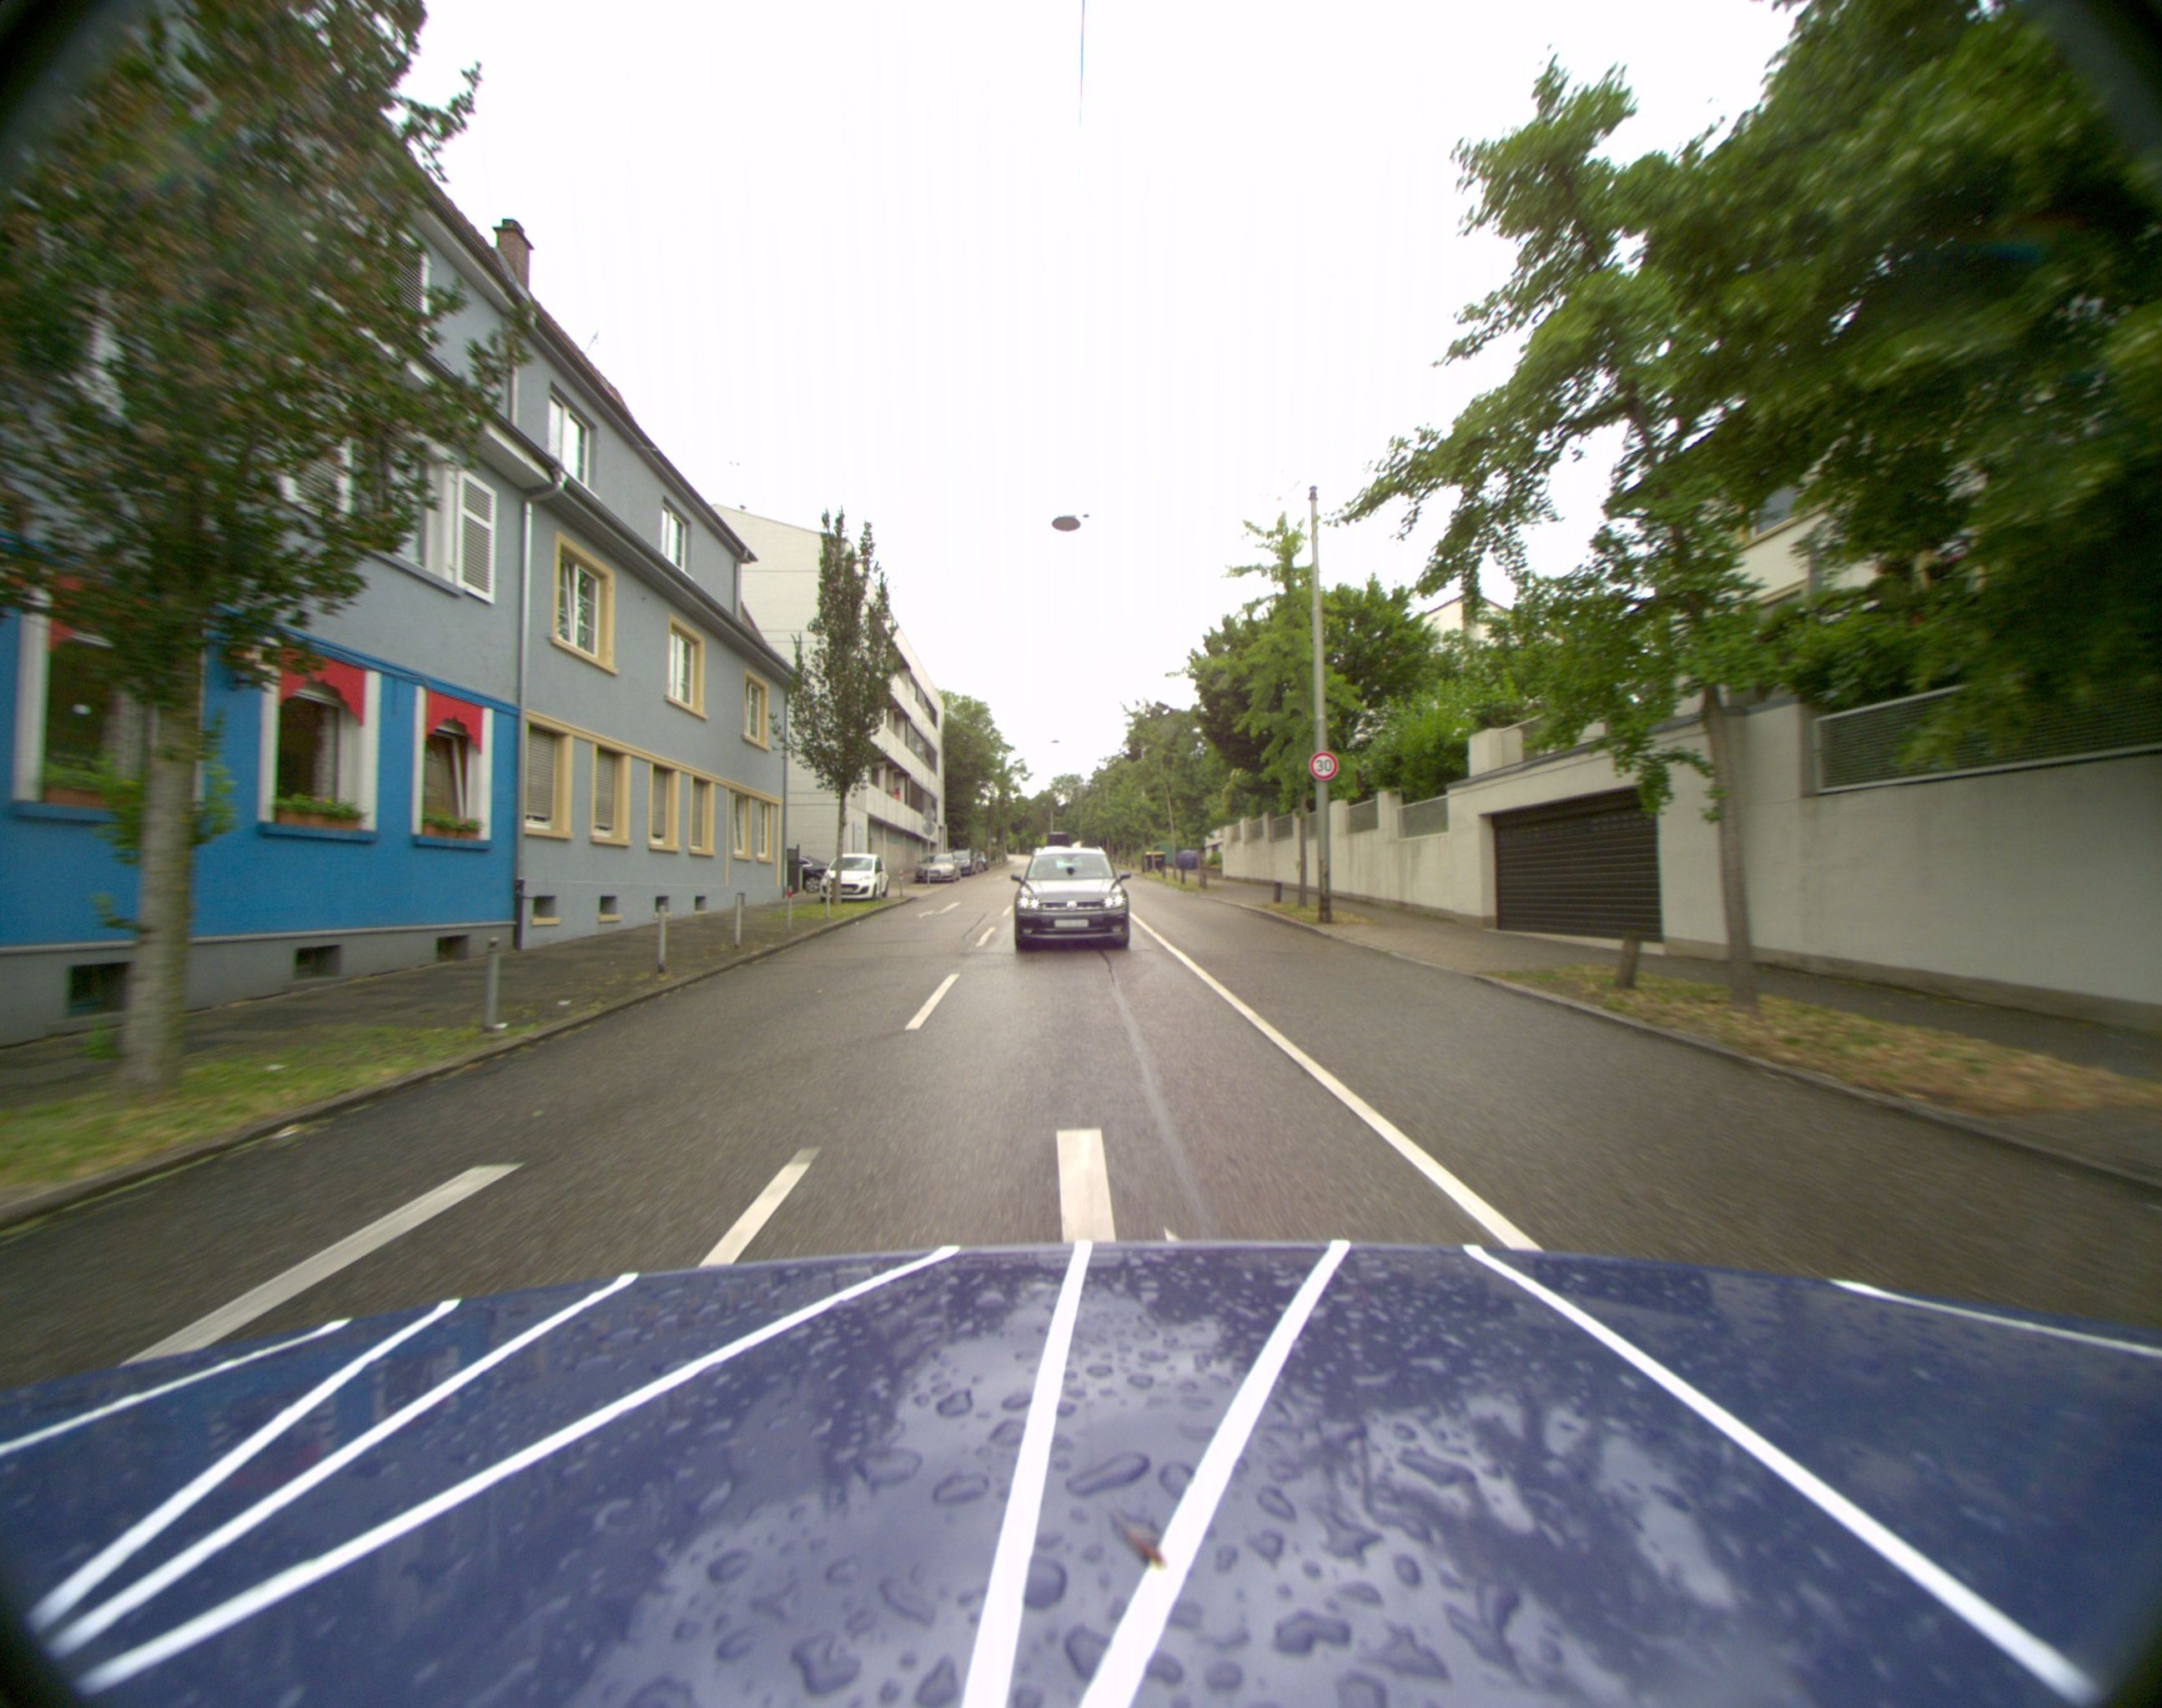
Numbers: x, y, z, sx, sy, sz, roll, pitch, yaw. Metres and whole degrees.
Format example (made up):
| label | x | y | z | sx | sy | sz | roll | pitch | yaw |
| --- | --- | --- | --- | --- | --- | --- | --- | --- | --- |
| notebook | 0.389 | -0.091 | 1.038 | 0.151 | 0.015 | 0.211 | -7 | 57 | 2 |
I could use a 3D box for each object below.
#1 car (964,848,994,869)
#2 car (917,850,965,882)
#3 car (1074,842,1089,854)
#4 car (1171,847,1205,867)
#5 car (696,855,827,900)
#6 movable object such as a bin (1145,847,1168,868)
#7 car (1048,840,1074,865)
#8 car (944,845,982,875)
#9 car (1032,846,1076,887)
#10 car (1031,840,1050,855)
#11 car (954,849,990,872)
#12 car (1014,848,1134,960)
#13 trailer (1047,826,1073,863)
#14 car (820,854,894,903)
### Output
| label | x | y | z | sx | sy | sz | roll | pitch | yaw |
| --- | --- | --- | --- | --- | --- | --- | --- | --- | --- |
| car | -7.632 | 0.323 | 57.071 | 1.844 | 1.436 | 4.153 | 1 | 1 | -3 |
| car | -7.033 | 0.558 | 38.485 | 1.819 | 1.451 | 4.739 | -1 | 1 | -4 |
| car | 0.033 | -0.747 | 95.550 | 1.724 | 1.376 | 4.284 | -4 | 0 | -1 |
| car | 8.238 | 0.205 | 58.779 | 1.856 | 1.483 | 3.864 | 1 | 1 | -3 |
| car | -11.993 | 0.840 | 28.858 | 4.371 | 1.399 | 1.806 | -3 | 2 | -17 |
| movable object such as a bin | 5.015 | 0.223 | 50.385 | 1.227 | 1.343 | 1.122 | -1 | 1 | -10 |
| car | -1.417 | -0.152 | 52.544 | 1.737 | 1.610 | 3.473 | -1 | 2 | -3 |
| car | -7.123 | 0.333 | 46.297 | 1.749 | 1.665 | 4.343 | -1 | 1 | -2 |
| car | -1.150 | 0.498 | 33.354 | 1.786 | 1.632 | 4.198 | -1 | 1 | -1 |
| car | -5.741 | -0.920 | 107.125 | 2.000 | 2.002 | 3.995 | -1 | 2 | -11 |
| car | -7.346 | 0.421 | 51.405 | 1.711 | 1.436 | 4.097 | -1 | 1 | 1 |
| car | -0.159 | 0.736 | 13.562 | 1.786 | 1.632 | 4.198 | -1 | 1 | -1 |
| trailer | -1.552 | -0.750 | 55.766 | 1.771 | 2.611 | 3.031 | -1 | 2 | -2 |
| car | -7.055 | 0.731 | 24.222 | 1.591 | 1.403 | 3.454 | -1 | 1 | -6 |
